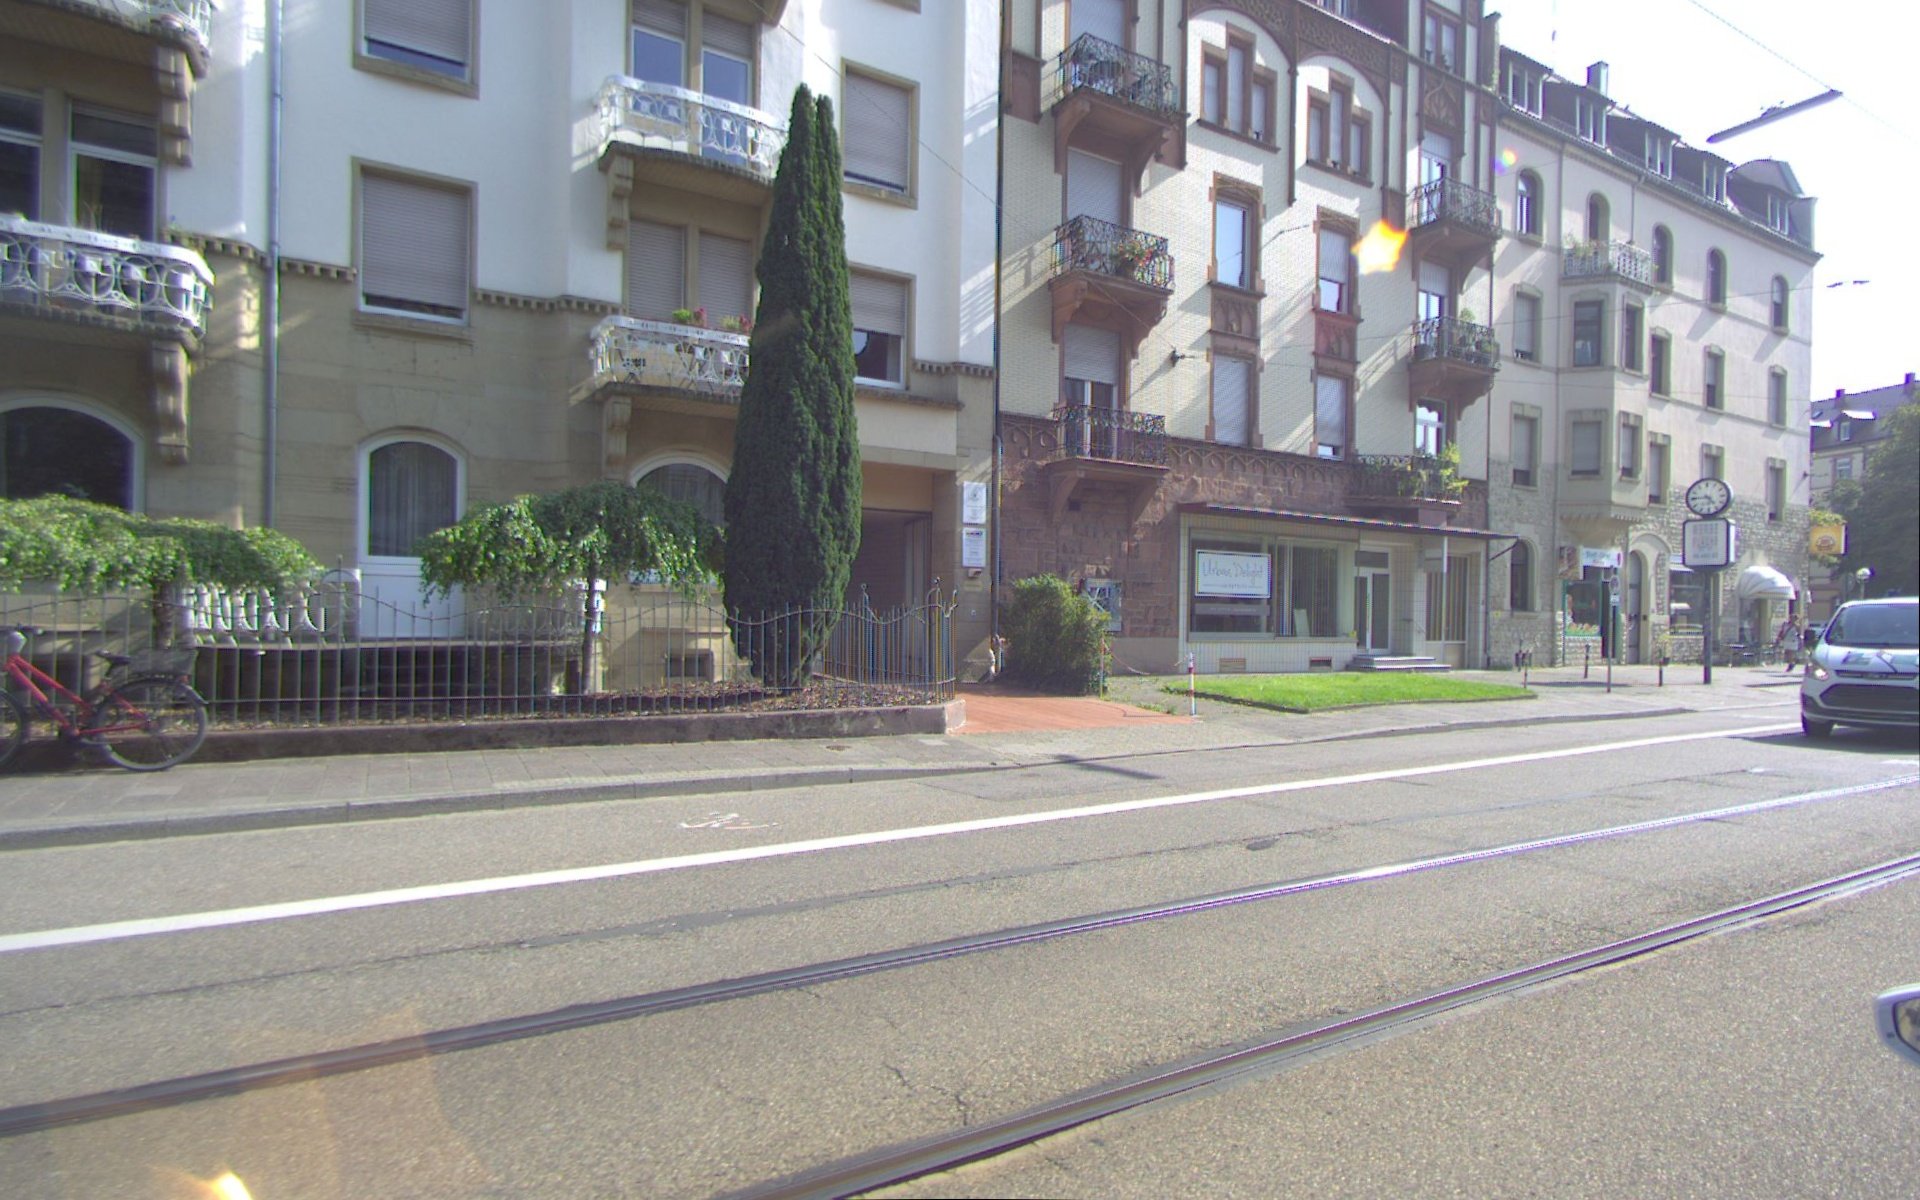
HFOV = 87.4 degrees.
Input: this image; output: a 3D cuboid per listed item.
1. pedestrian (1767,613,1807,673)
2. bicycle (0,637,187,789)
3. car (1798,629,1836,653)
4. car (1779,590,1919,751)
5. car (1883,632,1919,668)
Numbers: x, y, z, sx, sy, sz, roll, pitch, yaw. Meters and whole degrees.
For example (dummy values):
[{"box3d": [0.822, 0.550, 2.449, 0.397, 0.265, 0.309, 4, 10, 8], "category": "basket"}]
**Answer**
[{"box3d": [26.621, 1.384, 32.345, 0.821, 1.884, 0.769, 1, -1, -32], "category": "pedestrian"}, {"box3d": [-6.849, 0.836, 7.647, 1.471, 1.102, 0.368, 1, -1, -31], "category": "bicycle"}, {"box3d": [56.816, 2.722, 66.557, 1.843, 1.486, 4.761, 0, -1, 42], "category": "car"}, {"box3d": [13.926, 0.947, 14.465, 4.808, 2.040, 1.982, 2, -1, -34], "category": "car"}, {"box3d": [41.952, 2.165, 42.722, 1.832, 1.486, 4.789, 1, -1, 13], "category": "car"}]
